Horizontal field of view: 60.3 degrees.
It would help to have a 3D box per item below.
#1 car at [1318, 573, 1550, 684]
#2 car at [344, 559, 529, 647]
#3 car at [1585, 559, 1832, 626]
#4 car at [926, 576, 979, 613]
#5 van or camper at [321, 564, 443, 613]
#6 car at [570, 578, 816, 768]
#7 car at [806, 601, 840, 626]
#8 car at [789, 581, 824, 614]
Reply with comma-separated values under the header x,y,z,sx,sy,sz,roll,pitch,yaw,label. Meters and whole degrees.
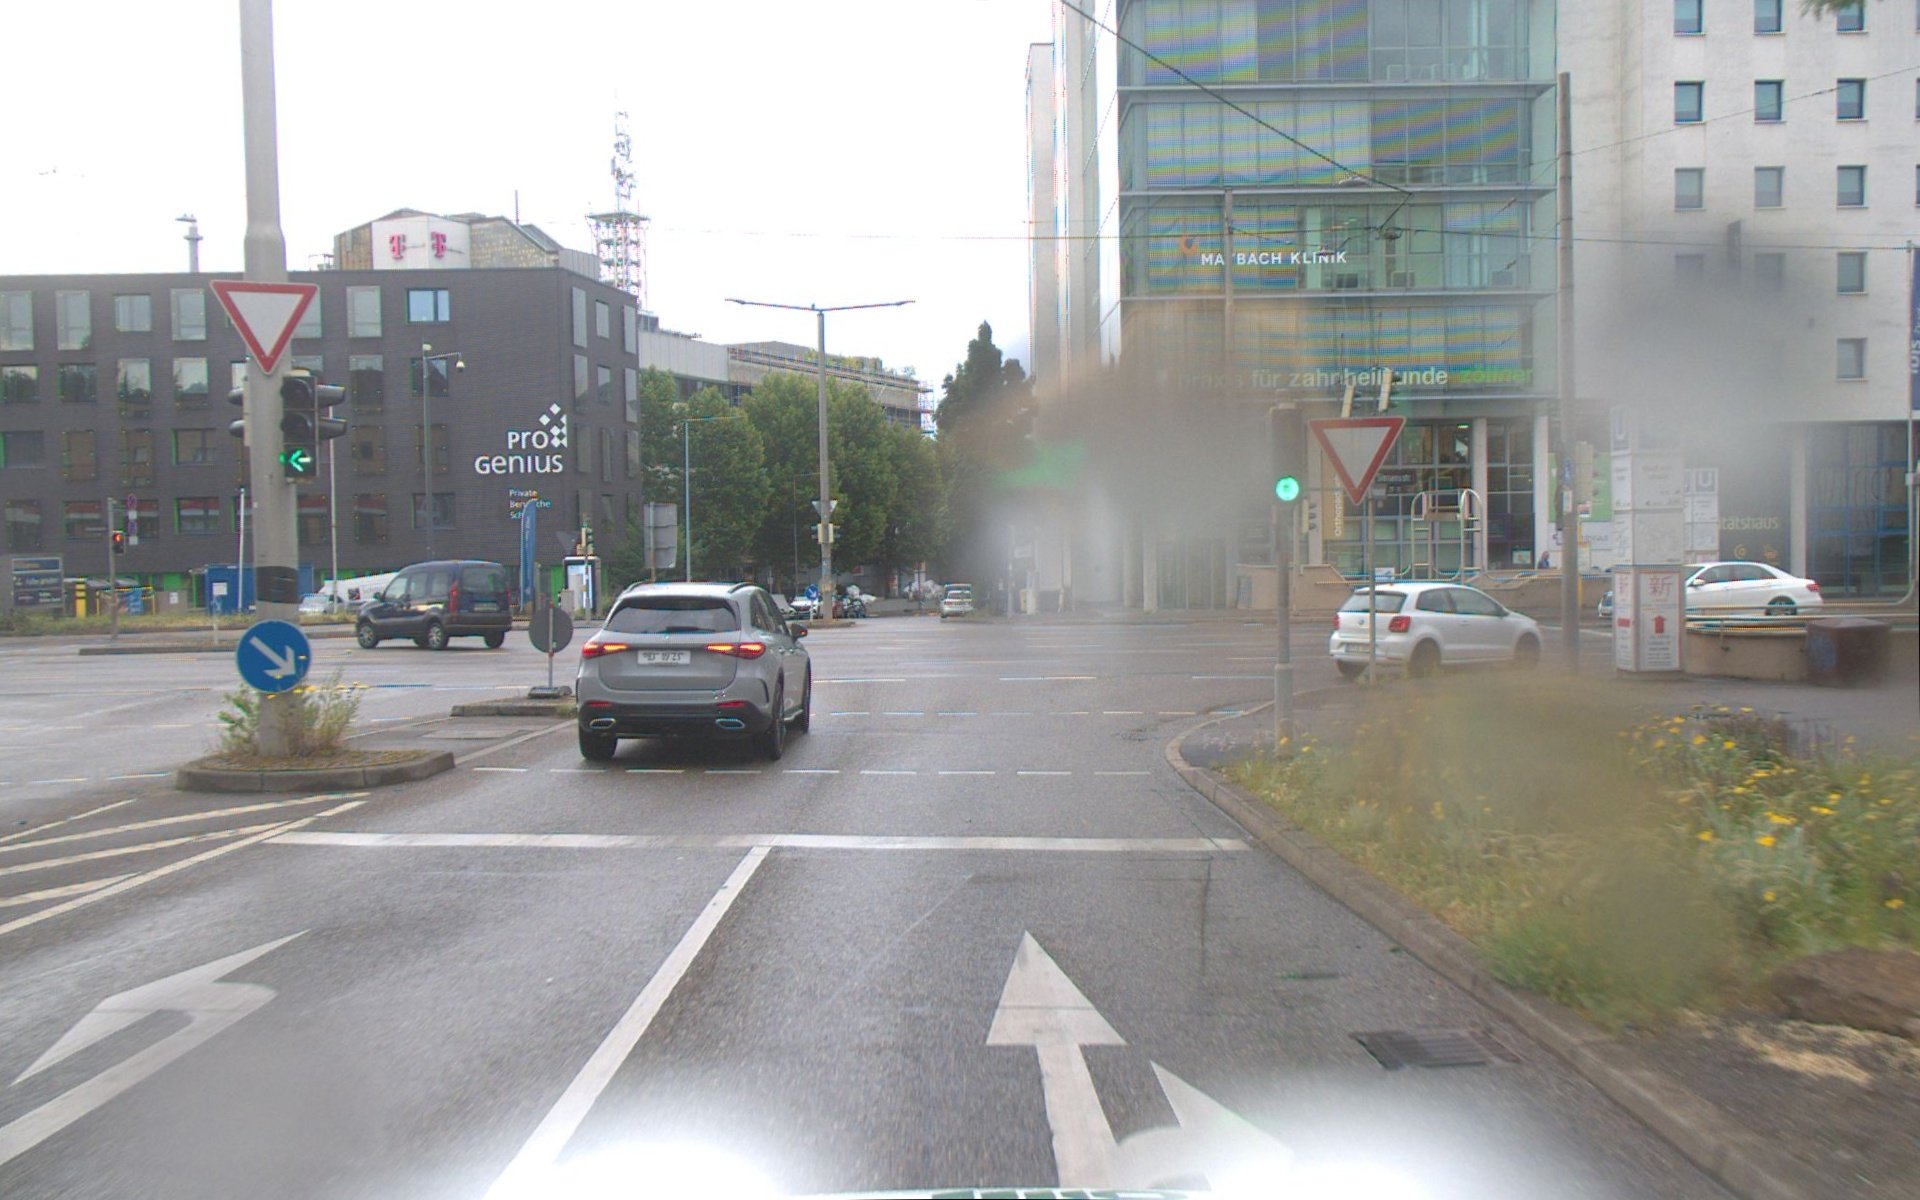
x,y,z,sx,sy,sz,roll,pitch,yaw,label
7.555,0.391,26.236,3.739,1.499,1.655,-3,3,-37,car
-11.352,0.072,35.781,4.050,1.799,1.851,-1,0,38,car
17.032,-0.186,37.778,4.847,1.411,1.823,-1,2,-2,car
-0.397,-0.266,82.914,1.957,1.747,3.990,1,0,-10,car
-29.420,-0.567,84.352,5.222,2.410,2.738,1,0,-1,van or camper
-2.529,0.635,16.679,1.869,1.660,4.209,1,0,-1,car
-9.432,0.925,113.747,1.643,1.622,3.859,1,0,5,car
-10.036,-0.152,108.167,1.953,2.049,3.999,1,0,-1,car
